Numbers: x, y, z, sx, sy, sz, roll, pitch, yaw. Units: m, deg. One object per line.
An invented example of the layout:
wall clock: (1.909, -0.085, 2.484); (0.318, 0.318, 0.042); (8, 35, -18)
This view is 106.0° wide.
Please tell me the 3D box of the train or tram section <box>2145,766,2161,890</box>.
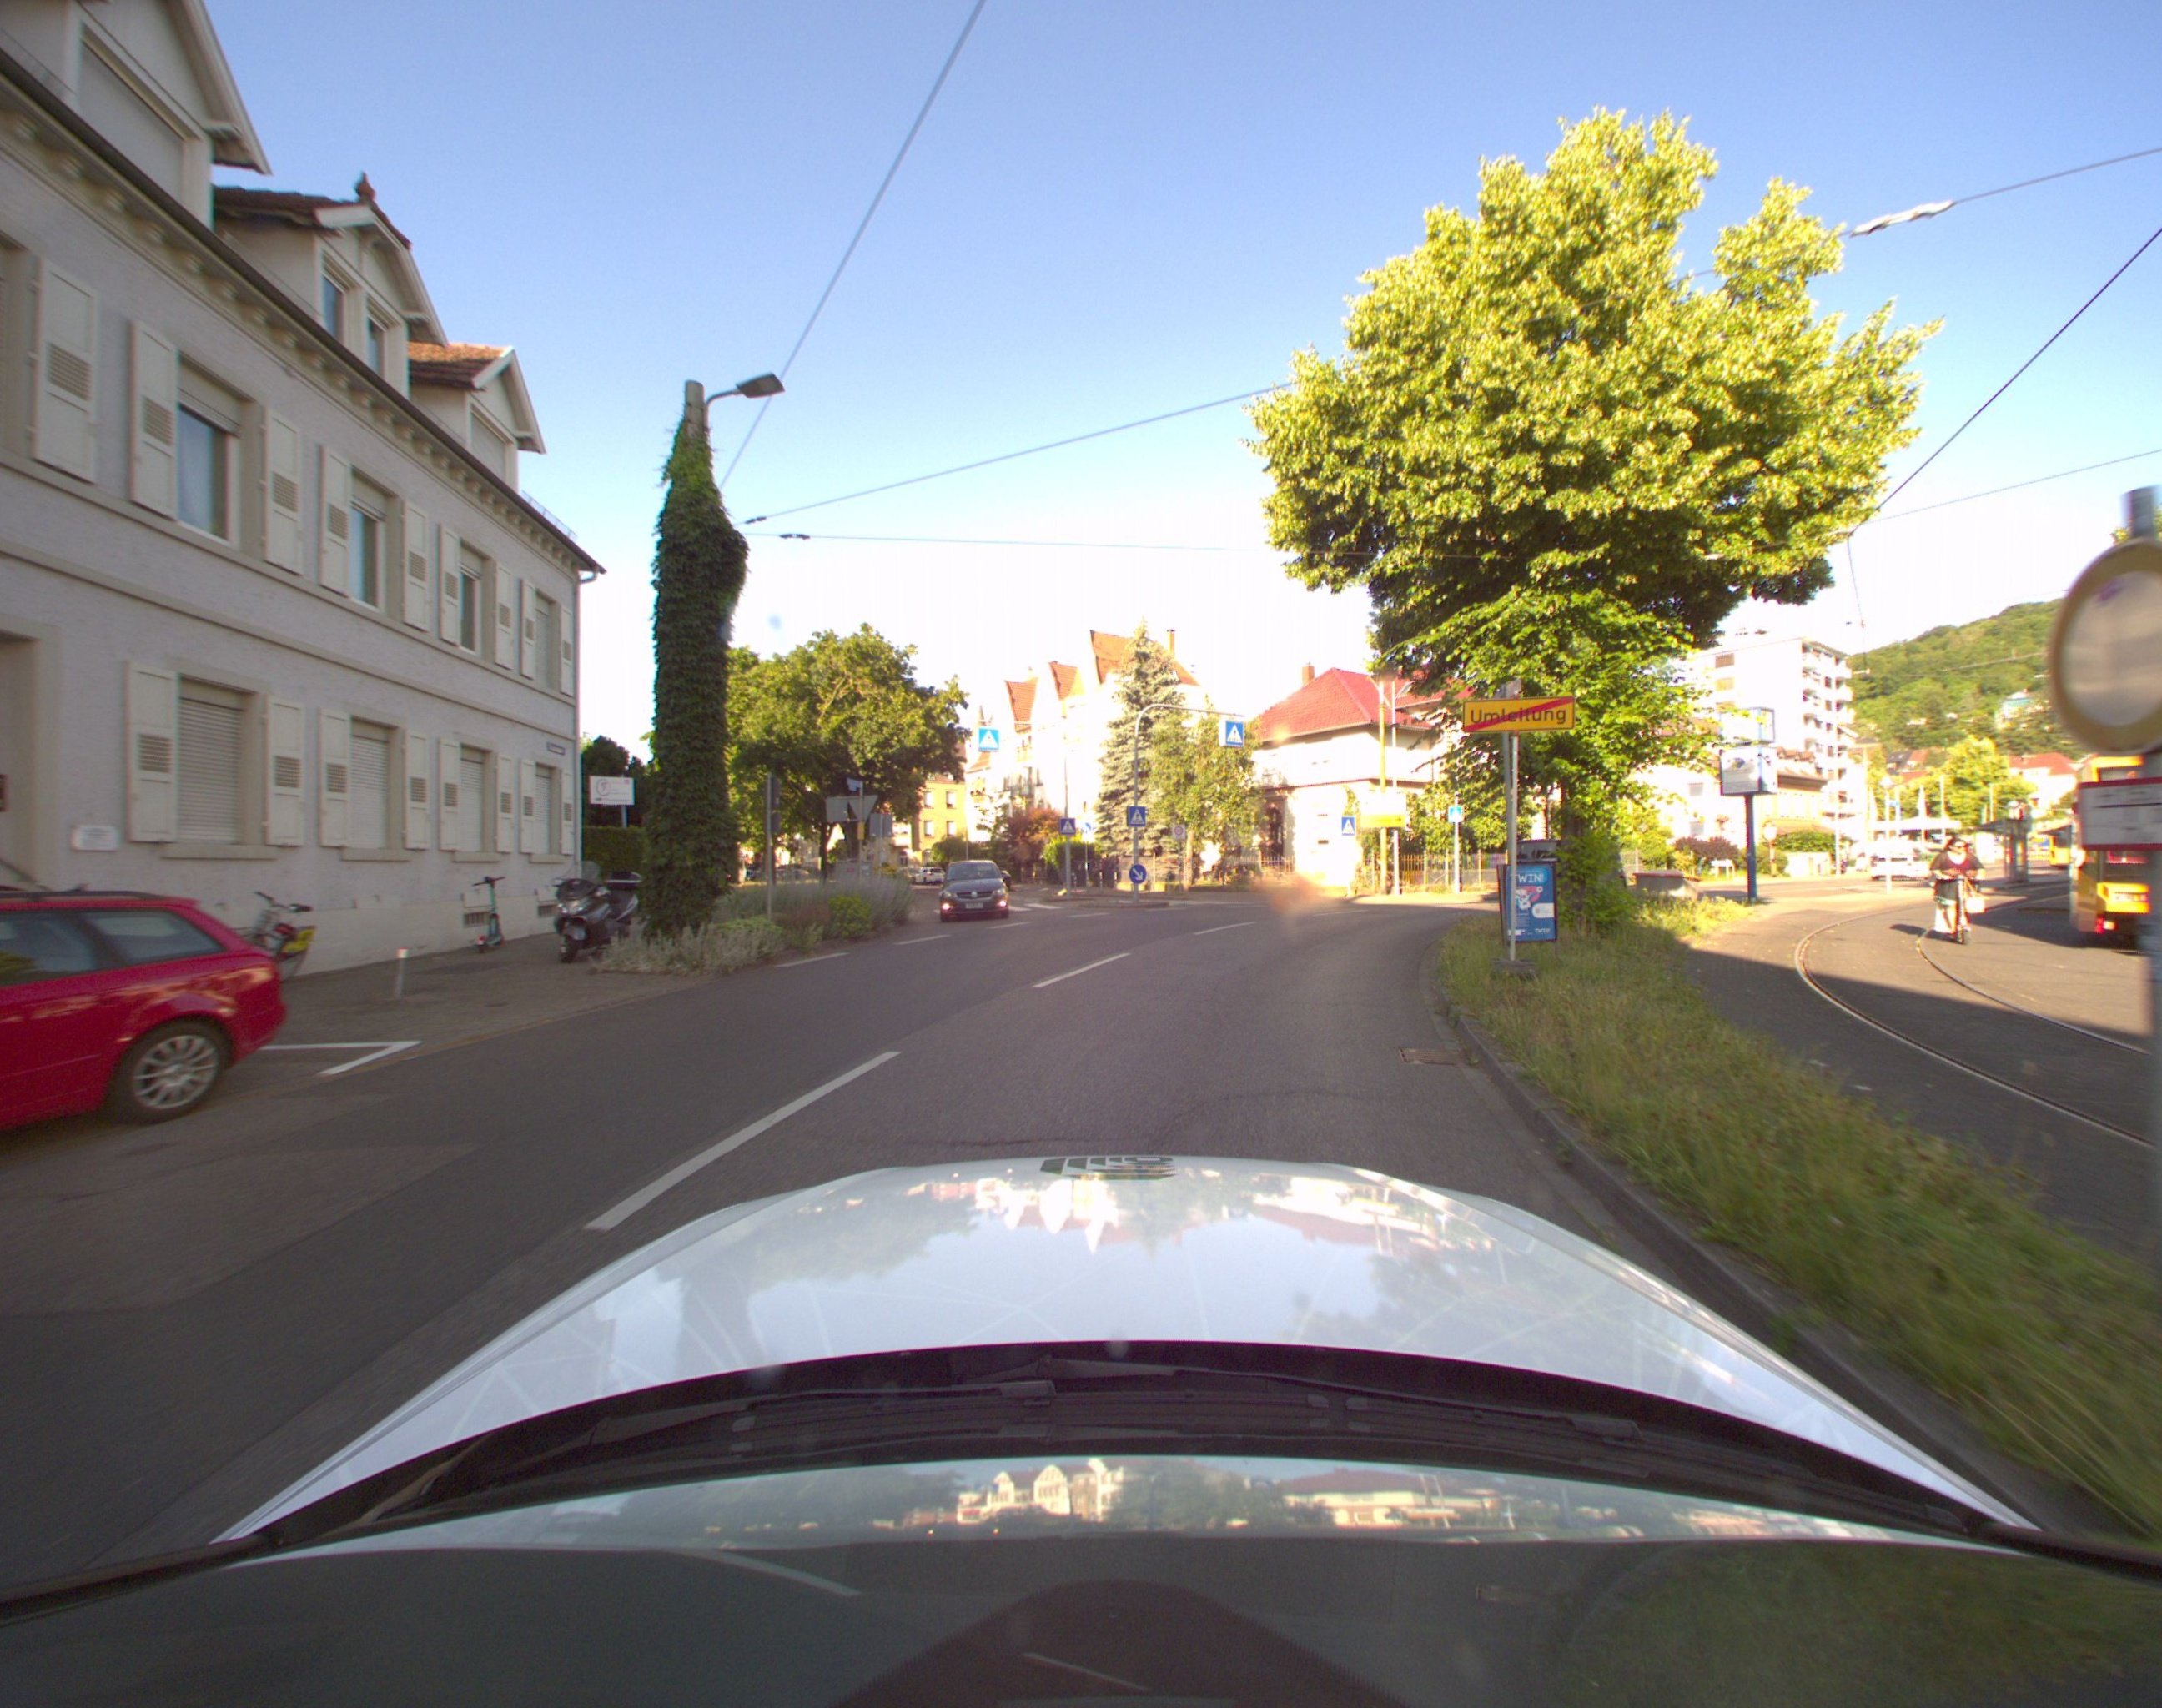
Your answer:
train or tram section: (35.725, -0.811, 25.244); (9.959, 3.555, 2.755); (-1, -1, -34)

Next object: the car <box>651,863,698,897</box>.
car: (-20.777, 1.286, 41.504); (1.947, 1.663, 4.467); (1, -1, -29)

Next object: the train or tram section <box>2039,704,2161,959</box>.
train or tram section: (19.287, -0.358, 14.039); (9.962, 3.555, 2.754); (-1, -1, -36)

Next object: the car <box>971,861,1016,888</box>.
car: (-5.493, 1.237, 50.626); (1.999, 1.596, 3.975); (0, -1, -18)

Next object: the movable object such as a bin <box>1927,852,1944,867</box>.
movable object such as a bin: (75.995, 0.461, 72.467); (0.965, 1.303, 1.026); (1, -2, -44)

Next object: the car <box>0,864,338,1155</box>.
car: (-6.523, 0.833, 3.895); (1.704, 1.466, 4.590); (1, 0, 0)

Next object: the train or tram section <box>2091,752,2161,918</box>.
train or tram section: (27.403, -0.456, 19.808); (9.959, 3.555, 2.755); (-1, -1, -34)

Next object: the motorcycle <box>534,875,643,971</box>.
motorcycle: (-7.783, 1.022, 13.024); (0.933, 1.357, 2.548); (0, -1, -19)

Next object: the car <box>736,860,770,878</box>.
car: (-39.858, 1.822, 98.910); (2.360, 2.041, 4.870); (1, -1, -42)

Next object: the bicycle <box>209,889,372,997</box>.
bicycle: (-9.355, 0.994, 9.736); (0.578, 1.109, 1.860); (0, -1, -17)

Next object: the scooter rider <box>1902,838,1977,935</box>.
scooter rider: (15.150, 0.565, 14.385); (0.651, 1.672, 0.607); (-1, -1, -2)

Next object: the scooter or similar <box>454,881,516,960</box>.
scooter or similar: (-9.970, 1.079, 13.670); (0.510, 1.229, 1.528); (1, -1, -24)

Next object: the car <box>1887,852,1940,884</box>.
car: (46.109, 0.783, 45.161); (1.975, 1.717, 4.023); (-1, -2, 45)

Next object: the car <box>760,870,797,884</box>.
car: (-34.935, 2.641, 94.106); (2.360, 1.596, 4.870); (1, -1, -42)

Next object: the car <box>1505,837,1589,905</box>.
car: (15.084, 0.512, 26.268); (1.974, 2.013, 4.025); (0, 0, 35)

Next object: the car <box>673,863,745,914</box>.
car: (-12.442, 1.094, 27.117); (1.819, 1.537, 3.872); (1, -1, -30)

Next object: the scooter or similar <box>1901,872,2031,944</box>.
scooter or similar: (15.193, 0.899, 14.025); (0.681, 1.136, 1.406); (-1, 0, -1)

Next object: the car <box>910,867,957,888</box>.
car: (-11.898, 1.838, 65.317); (2.353, 1.596, 4.884); (1, -1, -28)

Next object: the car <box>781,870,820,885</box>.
car: (-31.083, 2.614, 90.121); (2.360, 1.596, 4.870); (1, -1, -42)

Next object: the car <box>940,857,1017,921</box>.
car: (-2.645, 0.820, 20.672); (1.712, 1.403, 3.726); (-3, 0, -9)

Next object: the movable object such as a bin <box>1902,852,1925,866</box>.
movable object such as a bin: (75.005, 0.453, 73.359); (0.965, 1.228, 1.413); (1, -2, -44)

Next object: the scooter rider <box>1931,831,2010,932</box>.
scooter rider: (15.178, 0.461, 13.910); (0.651, 1.672, 0.607); (-1, -1, -2)
